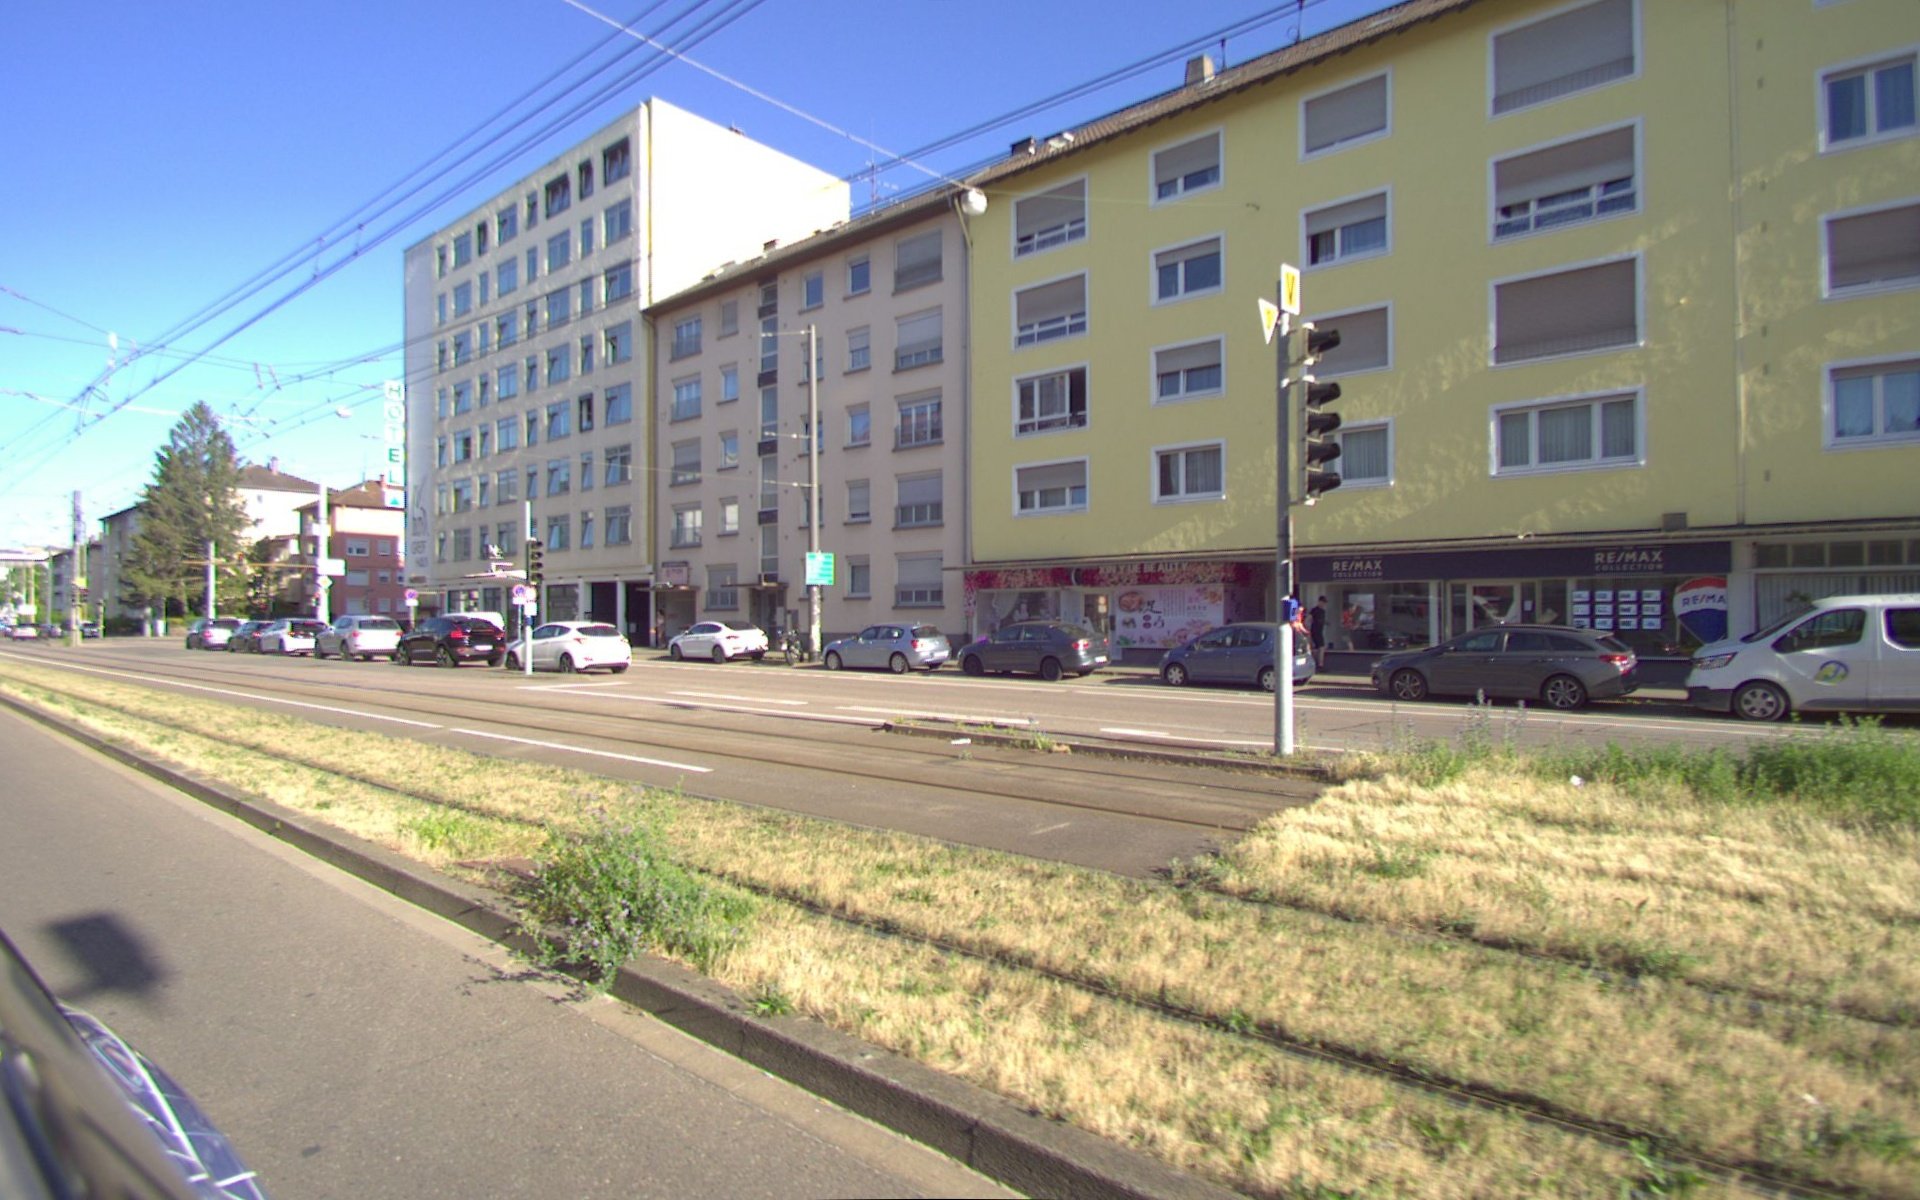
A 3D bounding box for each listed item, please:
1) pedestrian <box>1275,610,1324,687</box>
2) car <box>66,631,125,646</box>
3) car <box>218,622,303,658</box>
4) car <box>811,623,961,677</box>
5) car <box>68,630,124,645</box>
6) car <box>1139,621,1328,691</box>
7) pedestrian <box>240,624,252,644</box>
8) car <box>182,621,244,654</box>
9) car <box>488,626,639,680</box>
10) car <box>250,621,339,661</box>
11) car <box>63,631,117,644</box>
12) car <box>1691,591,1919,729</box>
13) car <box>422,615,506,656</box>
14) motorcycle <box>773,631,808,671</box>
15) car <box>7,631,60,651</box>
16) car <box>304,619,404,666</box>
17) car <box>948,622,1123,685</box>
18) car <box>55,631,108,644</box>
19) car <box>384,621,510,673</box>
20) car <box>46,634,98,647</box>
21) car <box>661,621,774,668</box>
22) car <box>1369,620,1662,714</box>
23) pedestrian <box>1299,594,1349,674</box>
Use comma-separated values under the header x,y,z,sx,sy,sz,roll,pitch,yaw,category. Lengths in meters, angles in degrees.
x,y,z,sx,sy,sz,roll,pitch,yaw,category
8.024,1.124,23.917,0.844,1.756,0.664,-2,1,41,pedestrian
-81.072,3.619,94.956,1.737,1.342,3.946,-2,-2,40,car
-31.721,1.823,45.859,4.362,1.562,1.974,-2,-4,39,car
-2.247,1.458,30.063,4.410,1.395,1.765,-2,1,39,car
-84.819,3.680,99.425,1.737,1.342,3.946,-2,-2,40,car
6.206,1.234,23.151,3.766,1.395,1.765,-2,1,41,car
-59.817,2.834,84.796,0.510,1.618,0.607,-2,1,39,pedestrian
-37.160,1.892,50.308,3.997,1.571,1.596,-2,-4,41,car
-11.127,1.469,28.295,4.405,1.395,1.817,-2,-3,35,car
-27.384,1.687,41.603,4.236,1.562,1.838,-2,-4,39,car
-88.317,3.816,102.775,1.737,1.342,3.946,-2,-2,40,car
14.672,0.874,15.528,5.493,1.964,1.975,-2,1,38,car
-24.983,1.764,50.921,4.665,1.912,1.974,-2,1,39,car
-5.512,1.656,33.023,0.481,1.147,2.107,-2,1,7,motorcycle
-73.369,3.234,80.217,1.693,1.397,3.725,-2,1,-18,car
-22.080,1.539,36.825,4.605,1.593,1.764,-2,-3,41,car
1.919,1.354,26.645,4.413,1.431,1.765,-2,1,41,car
-91.729,3.884,105.709,1.737,1.342,3.946,-2,-2,40,car
-16.396,1.481,32.262,4.406,1.540,1.767,-2,-3,36,car
-95.321,4.299,108.687,1.737,1.342,3.946,-2,-2,40,car
-8.639,1.554,35.867,4.197,1.497,1.740,-2,1,41,car
10.404,1.195,19.177,4.593,1.485,1.765,-2,1,41,car
8.854,0.824,24.608,0.923,1.874,0.664,-2,1,41,pedestrian
